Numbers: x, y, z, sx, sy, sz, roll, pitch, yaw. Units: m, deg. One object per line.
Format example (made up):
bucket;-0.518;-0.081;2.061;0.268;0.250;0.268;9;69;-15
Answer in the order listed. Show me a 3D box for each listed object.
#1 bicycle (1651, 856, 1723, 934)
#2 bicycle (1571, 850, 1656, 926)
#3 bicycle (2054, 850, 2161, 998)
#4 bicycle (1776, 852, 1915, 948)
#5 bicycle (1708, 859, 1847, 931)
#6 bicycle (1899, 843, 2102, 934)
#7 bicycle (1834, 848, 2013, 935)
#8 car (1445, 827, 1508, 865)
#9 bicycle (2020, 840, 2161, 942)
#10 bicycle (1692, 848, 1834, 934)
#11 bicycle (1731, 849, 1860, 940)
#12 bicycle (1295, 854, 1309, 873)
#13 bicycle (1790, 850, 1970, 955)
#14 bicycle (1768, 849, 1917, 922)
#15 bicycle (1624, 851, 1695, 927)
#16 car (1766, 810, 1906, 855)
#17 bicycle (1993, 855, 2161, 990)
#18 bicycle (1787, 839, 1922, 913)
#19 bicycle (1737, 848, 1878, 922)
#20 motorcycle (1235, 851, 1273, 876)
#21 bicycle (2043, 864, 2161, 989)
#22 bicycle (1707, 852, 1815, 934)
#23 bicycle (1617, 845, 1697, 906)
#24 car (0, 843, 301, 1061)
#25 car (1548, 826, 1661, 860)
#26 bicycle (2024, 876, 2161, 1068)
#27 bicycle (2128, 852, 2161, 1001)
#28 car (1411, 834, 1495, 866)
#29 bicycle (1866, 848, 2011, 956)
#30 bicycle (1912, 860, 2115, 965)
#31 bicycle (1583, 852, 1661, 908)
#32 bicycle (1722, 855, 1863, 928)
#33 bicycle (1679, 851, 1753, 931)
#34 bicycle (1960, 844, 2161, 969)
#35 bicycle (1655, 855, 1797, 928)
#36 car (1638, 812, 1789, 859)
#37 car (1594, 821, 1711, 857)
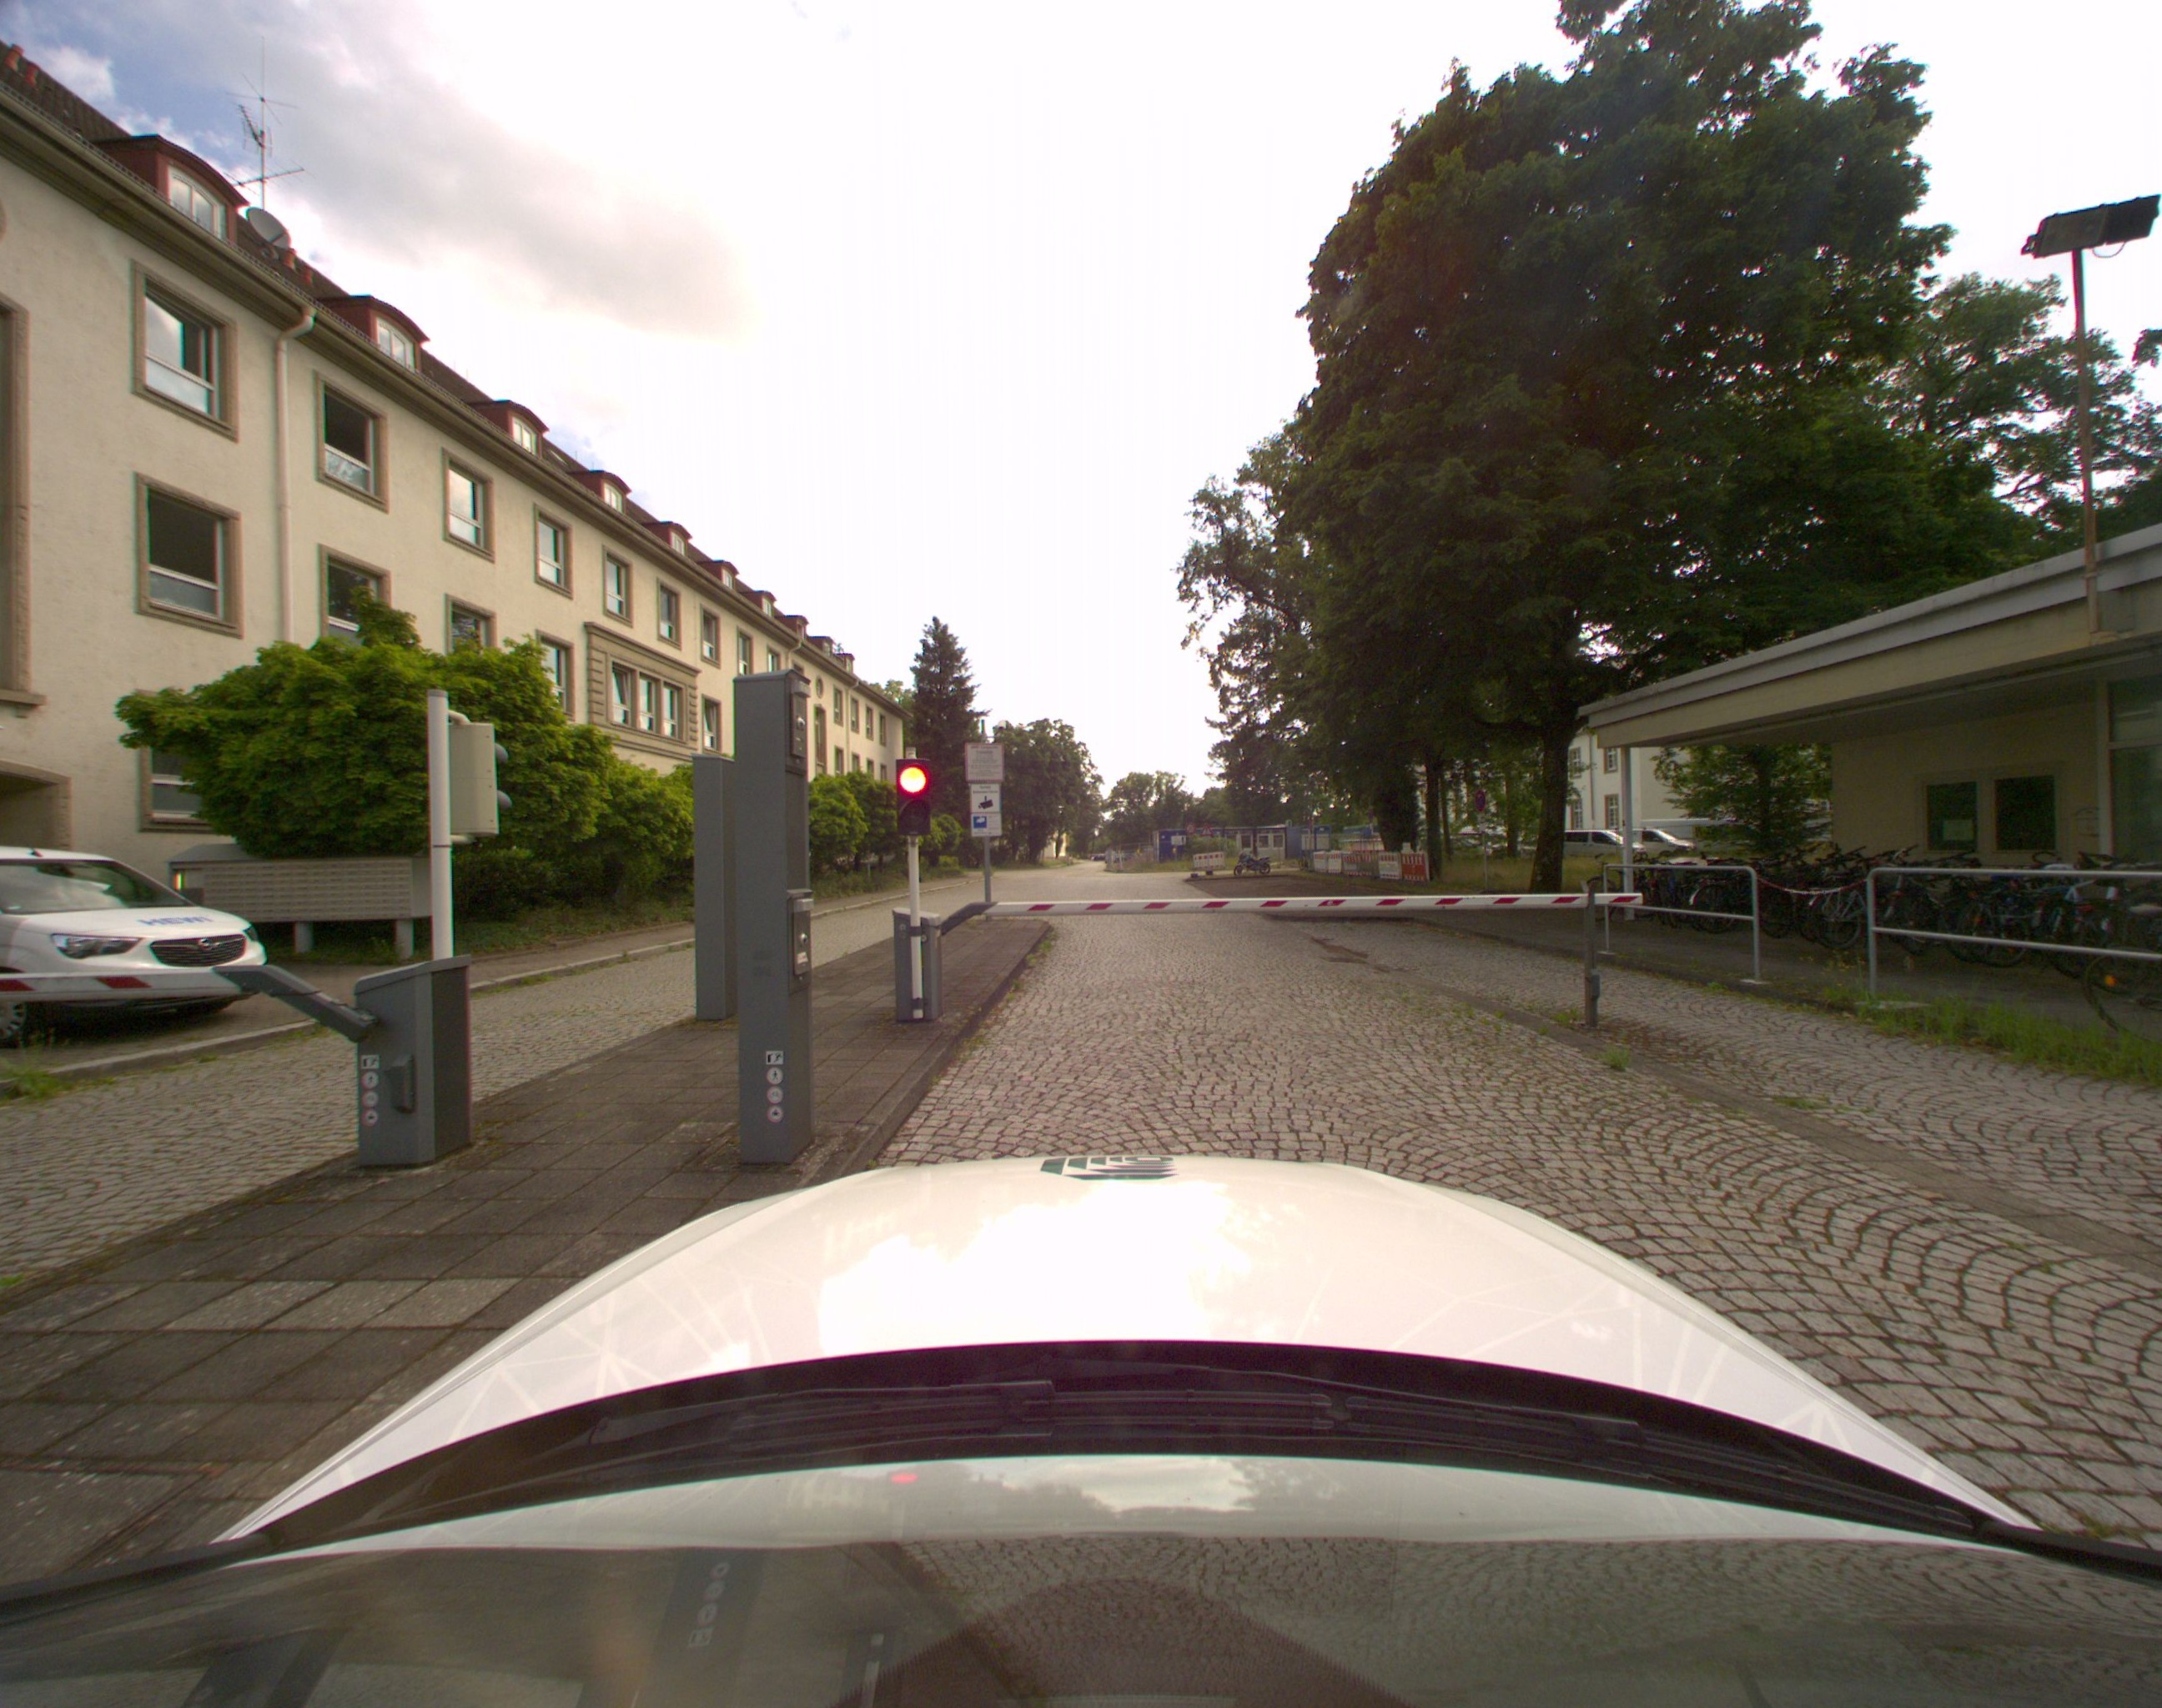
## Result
bicycle;9.597;0.628;12.882;1.387;1.171;0.355;0;-3;-31
bicycle;9.057;0.558;13.856;1.383;1.170;0.431;-4;1;-20
bicycle;9.335;0.539;6.798;2.067;1.171;0.392;-2;-2;-5
bicycle;10.077;0.583;10.733;1.805;1.171;0.494;-1;-2;-19
bicycle;11.118;0.614;13.095;0.371;1.067;1.907;-2;0;-8
bicycle;12.419;0.461;11.101;0.371;1.119;1.892;-2;-2;-8
bicycle;11.848;0.484;11.553;0.371;1.119;1.893;-2;0;-8
car;26.290;-0.473;54.303;1.984;2.424;5.364;-1;-1;5
bicycle;12.009;0.406;9.196;1.878;1.119;0.447;-2;-2;14
bicycle;9.900;0.527;11.841;1.797;1.171;0.358;-2;-2;-5
bicycle;9.905;0.547;11.287;1.749;1.171;0.494;-1;-2;-19
bicycle;12.310;0.535;45.413;0.330;1.008;1.726;-2;-2;1
bicycle;9.687;0.573;9.891;1.800;1.171;0.581;-1;-2;-10
bicycle;12.239;0.503;13.179;0.371;1.083;1.892;-2;-2;-8
bicycle;9.423;0.552;13.252;1.387;1.171;0.355;0;-3;-31
car;40.234;-1.070;43.677;2.431;1.957;5.697;-2;-2;4
bicycle;9.721;0.613;7.674;2.014;1.171;0.400;-2;-2;-8
bicycle;12.694;0.357;13.453;0.370;1.128;1.898;-2;-2;0
bicycle;11.821;0.481;13.341;0.371;1.119;1.892;-2;0;-8
motorcycle;9.351;0.523;44.011;1.950;1.194;0.461;-3;4;0
bicycle;9.530;0.611;7.181;1.767;1.031;0.353;-2;-2;-5
bicycle;10.227;0.585;12.260;1.377;1.171;0.358;-2;-2;-7
bicycle;11.722;0.444;16.624;0.502;1.171;1.555;-2;-2;1
car;-10.730;0.804;7.866;4.424;1.751;1.858;3;0;-2
car;28.211;-0.555;44.093;2.004;1.650;4.798;-1;-1;-26
bicycle;6.604;0.694;4.535;0.727;1.072;1.715;-2;0;2
bicycle;9.421;0.536;6.352;1.945;1.171;0.485;-2;-2;-4
car;22.732;-0.231;49.861;4.201;1.820;2.002;-1;-1;3
bicycle;9.929;0.532;9.423;1.704;1.160;0.399;-1;-2;-18
bicycle;9.972;0.608;8.714;1.978;1.029;0.400;-1;-2;-9
bicycle;11.098;0.521;16.769;0.502;1.086;1.585;-2;0;0
bicycle;11.465;0.595;13.213;0.371;1.081;1.892;-2;-2;-8
bicycle;9.777;0.559;12.532;1.387;1.171;0.355;0;-3;-31
bicycle;10.032;0.519;8.291;1.978;1.171;0.400;-1;-2;-9
bicycle;10.518;0.599;13.361;0.446;1.119;1.785;-1;-1;-23
car;34.159;-0.927;44.223;2.005;2.308;6.141;-1;-1;-29
car;30.998;-0.766;44.338;2.004;1.789;4.798;-1;-1;-26
